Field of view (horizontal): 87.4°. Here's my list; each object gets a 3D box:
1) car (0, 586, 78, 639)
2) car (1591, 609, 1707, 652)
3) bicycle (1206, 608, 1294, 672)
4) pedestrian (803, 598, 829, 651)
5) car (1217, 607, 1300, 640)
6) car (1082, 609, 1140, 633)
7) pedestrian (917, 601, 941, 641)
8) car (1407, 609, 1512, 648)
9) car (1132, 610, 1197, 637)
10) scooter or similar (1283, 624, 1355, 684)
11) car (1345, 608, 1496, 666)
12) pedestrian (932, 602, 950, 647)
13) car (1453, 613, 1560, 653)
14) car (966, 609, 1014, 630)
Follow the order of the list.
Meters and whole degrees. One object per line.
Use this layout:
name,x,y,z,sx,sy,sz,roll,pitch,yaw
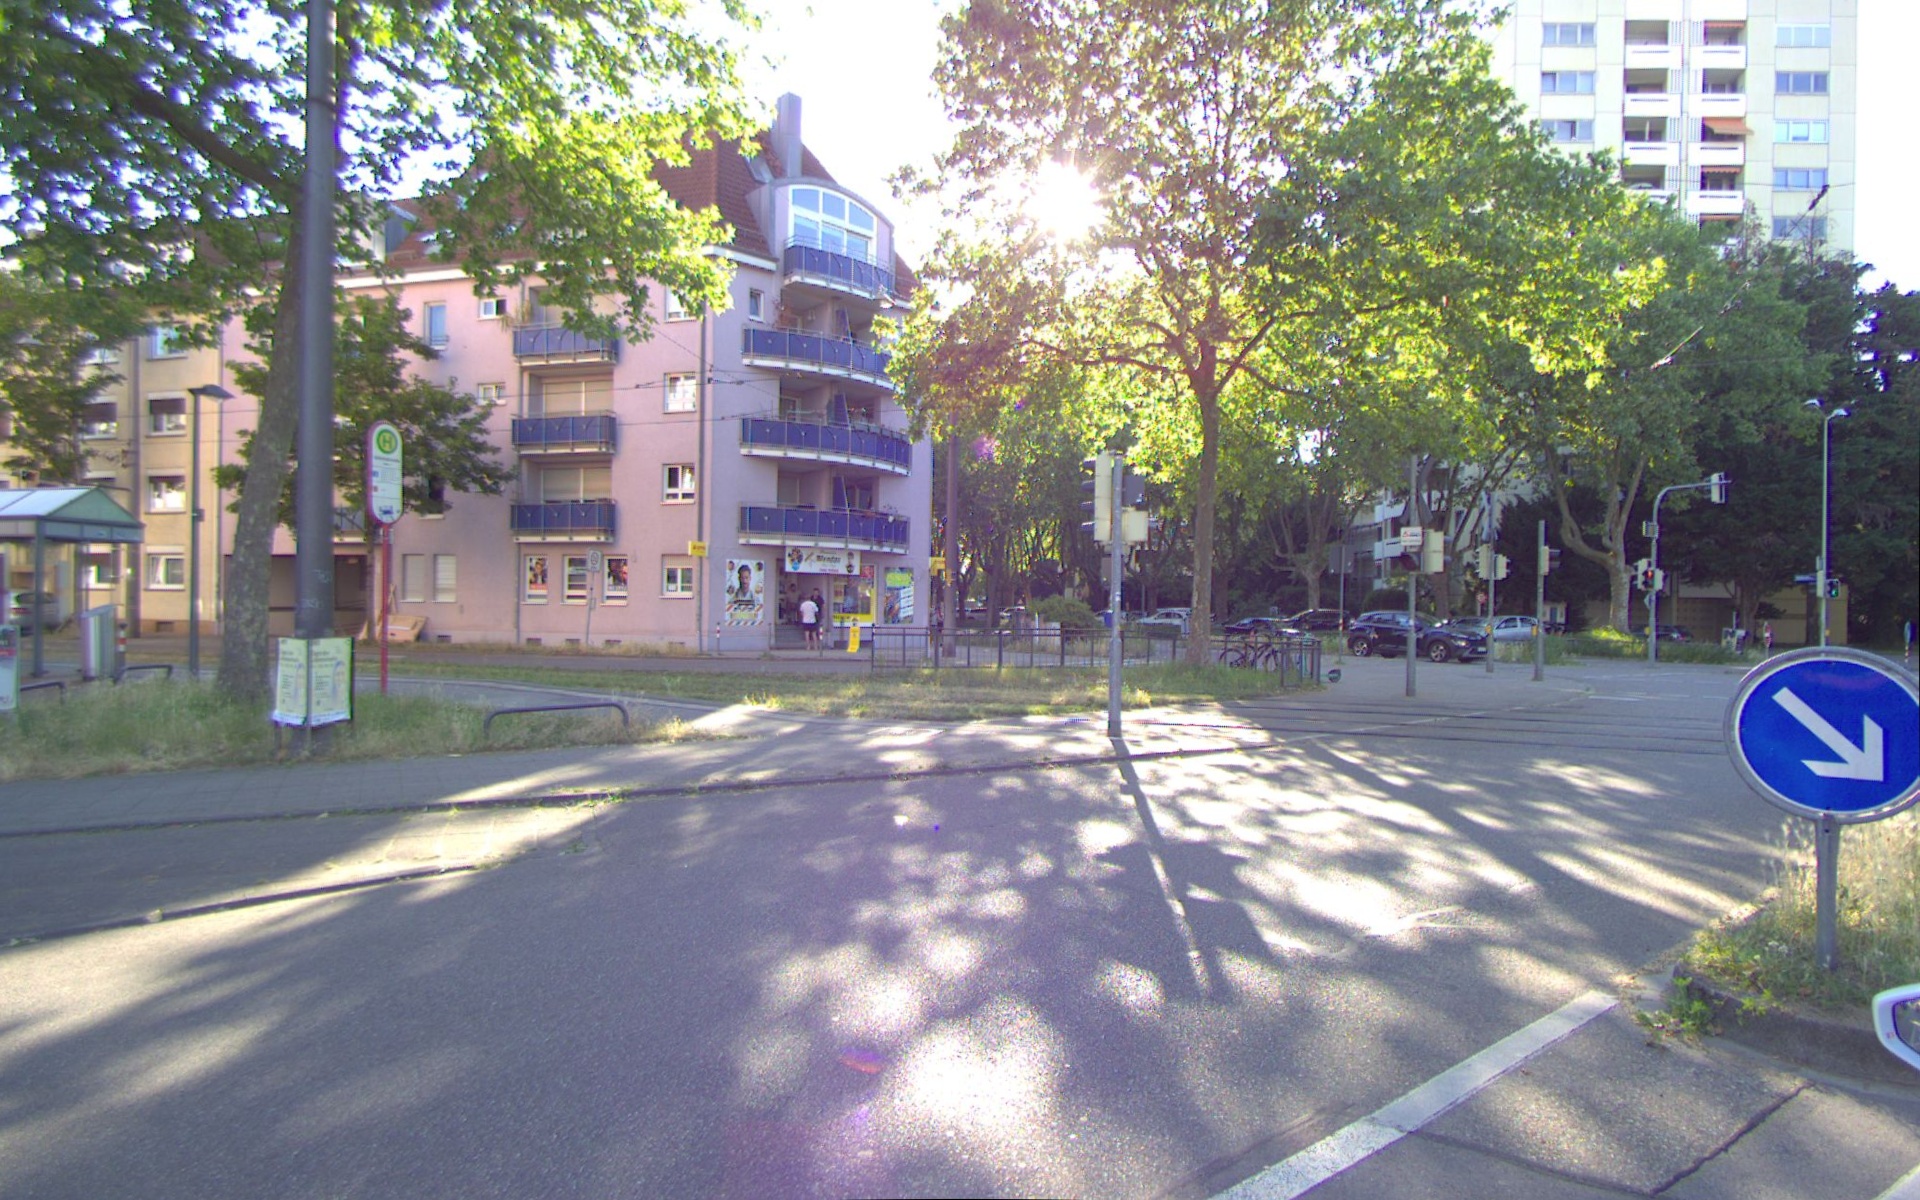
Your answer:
car,-33.477,0.392,35.218,4.029,1.728,1.940,2,0,16
car,31.623,1.356,46.205,1.971,1.798,3.979,2,0,-22
bicycle,6.402,0.877,22.247,1.811,1.324,0.382,2,0,34
pedestrian,-4.680,0.792,32.675,0.610,1.689,0.549,2,0,38
car,15.914,1.238,53.683,3.921,1.617,1.738,2,0,0
car,11.084,1.520,73.899,3.921,1.617,1.738,2,0,0
pedestrian,-1.319,0.908,42.970,0.910,1.689,0.618,2,0,-13
car,22.842,1.296,46.035,3.921,1.617,1.738,2,0,0
car,13.403,1.549,65.985,3.921,1.617,1.738,2,0,0
scooter or similar,7.923,1.194,22.205,1.412,1.255,0.414,2,0,9
car,14.325,1.128,31.438,1.722,1.617,3.959,2,0,-36
pedestrian,-0.729,0.947,38.489,0.540,1.689,0.620,2,0,8
car,23.882,1.429,43.985,3.732,1.617,1.738,2,0,0
car,2.608,1.666,86.367,3.919,1.617,1.739,2,0,9
